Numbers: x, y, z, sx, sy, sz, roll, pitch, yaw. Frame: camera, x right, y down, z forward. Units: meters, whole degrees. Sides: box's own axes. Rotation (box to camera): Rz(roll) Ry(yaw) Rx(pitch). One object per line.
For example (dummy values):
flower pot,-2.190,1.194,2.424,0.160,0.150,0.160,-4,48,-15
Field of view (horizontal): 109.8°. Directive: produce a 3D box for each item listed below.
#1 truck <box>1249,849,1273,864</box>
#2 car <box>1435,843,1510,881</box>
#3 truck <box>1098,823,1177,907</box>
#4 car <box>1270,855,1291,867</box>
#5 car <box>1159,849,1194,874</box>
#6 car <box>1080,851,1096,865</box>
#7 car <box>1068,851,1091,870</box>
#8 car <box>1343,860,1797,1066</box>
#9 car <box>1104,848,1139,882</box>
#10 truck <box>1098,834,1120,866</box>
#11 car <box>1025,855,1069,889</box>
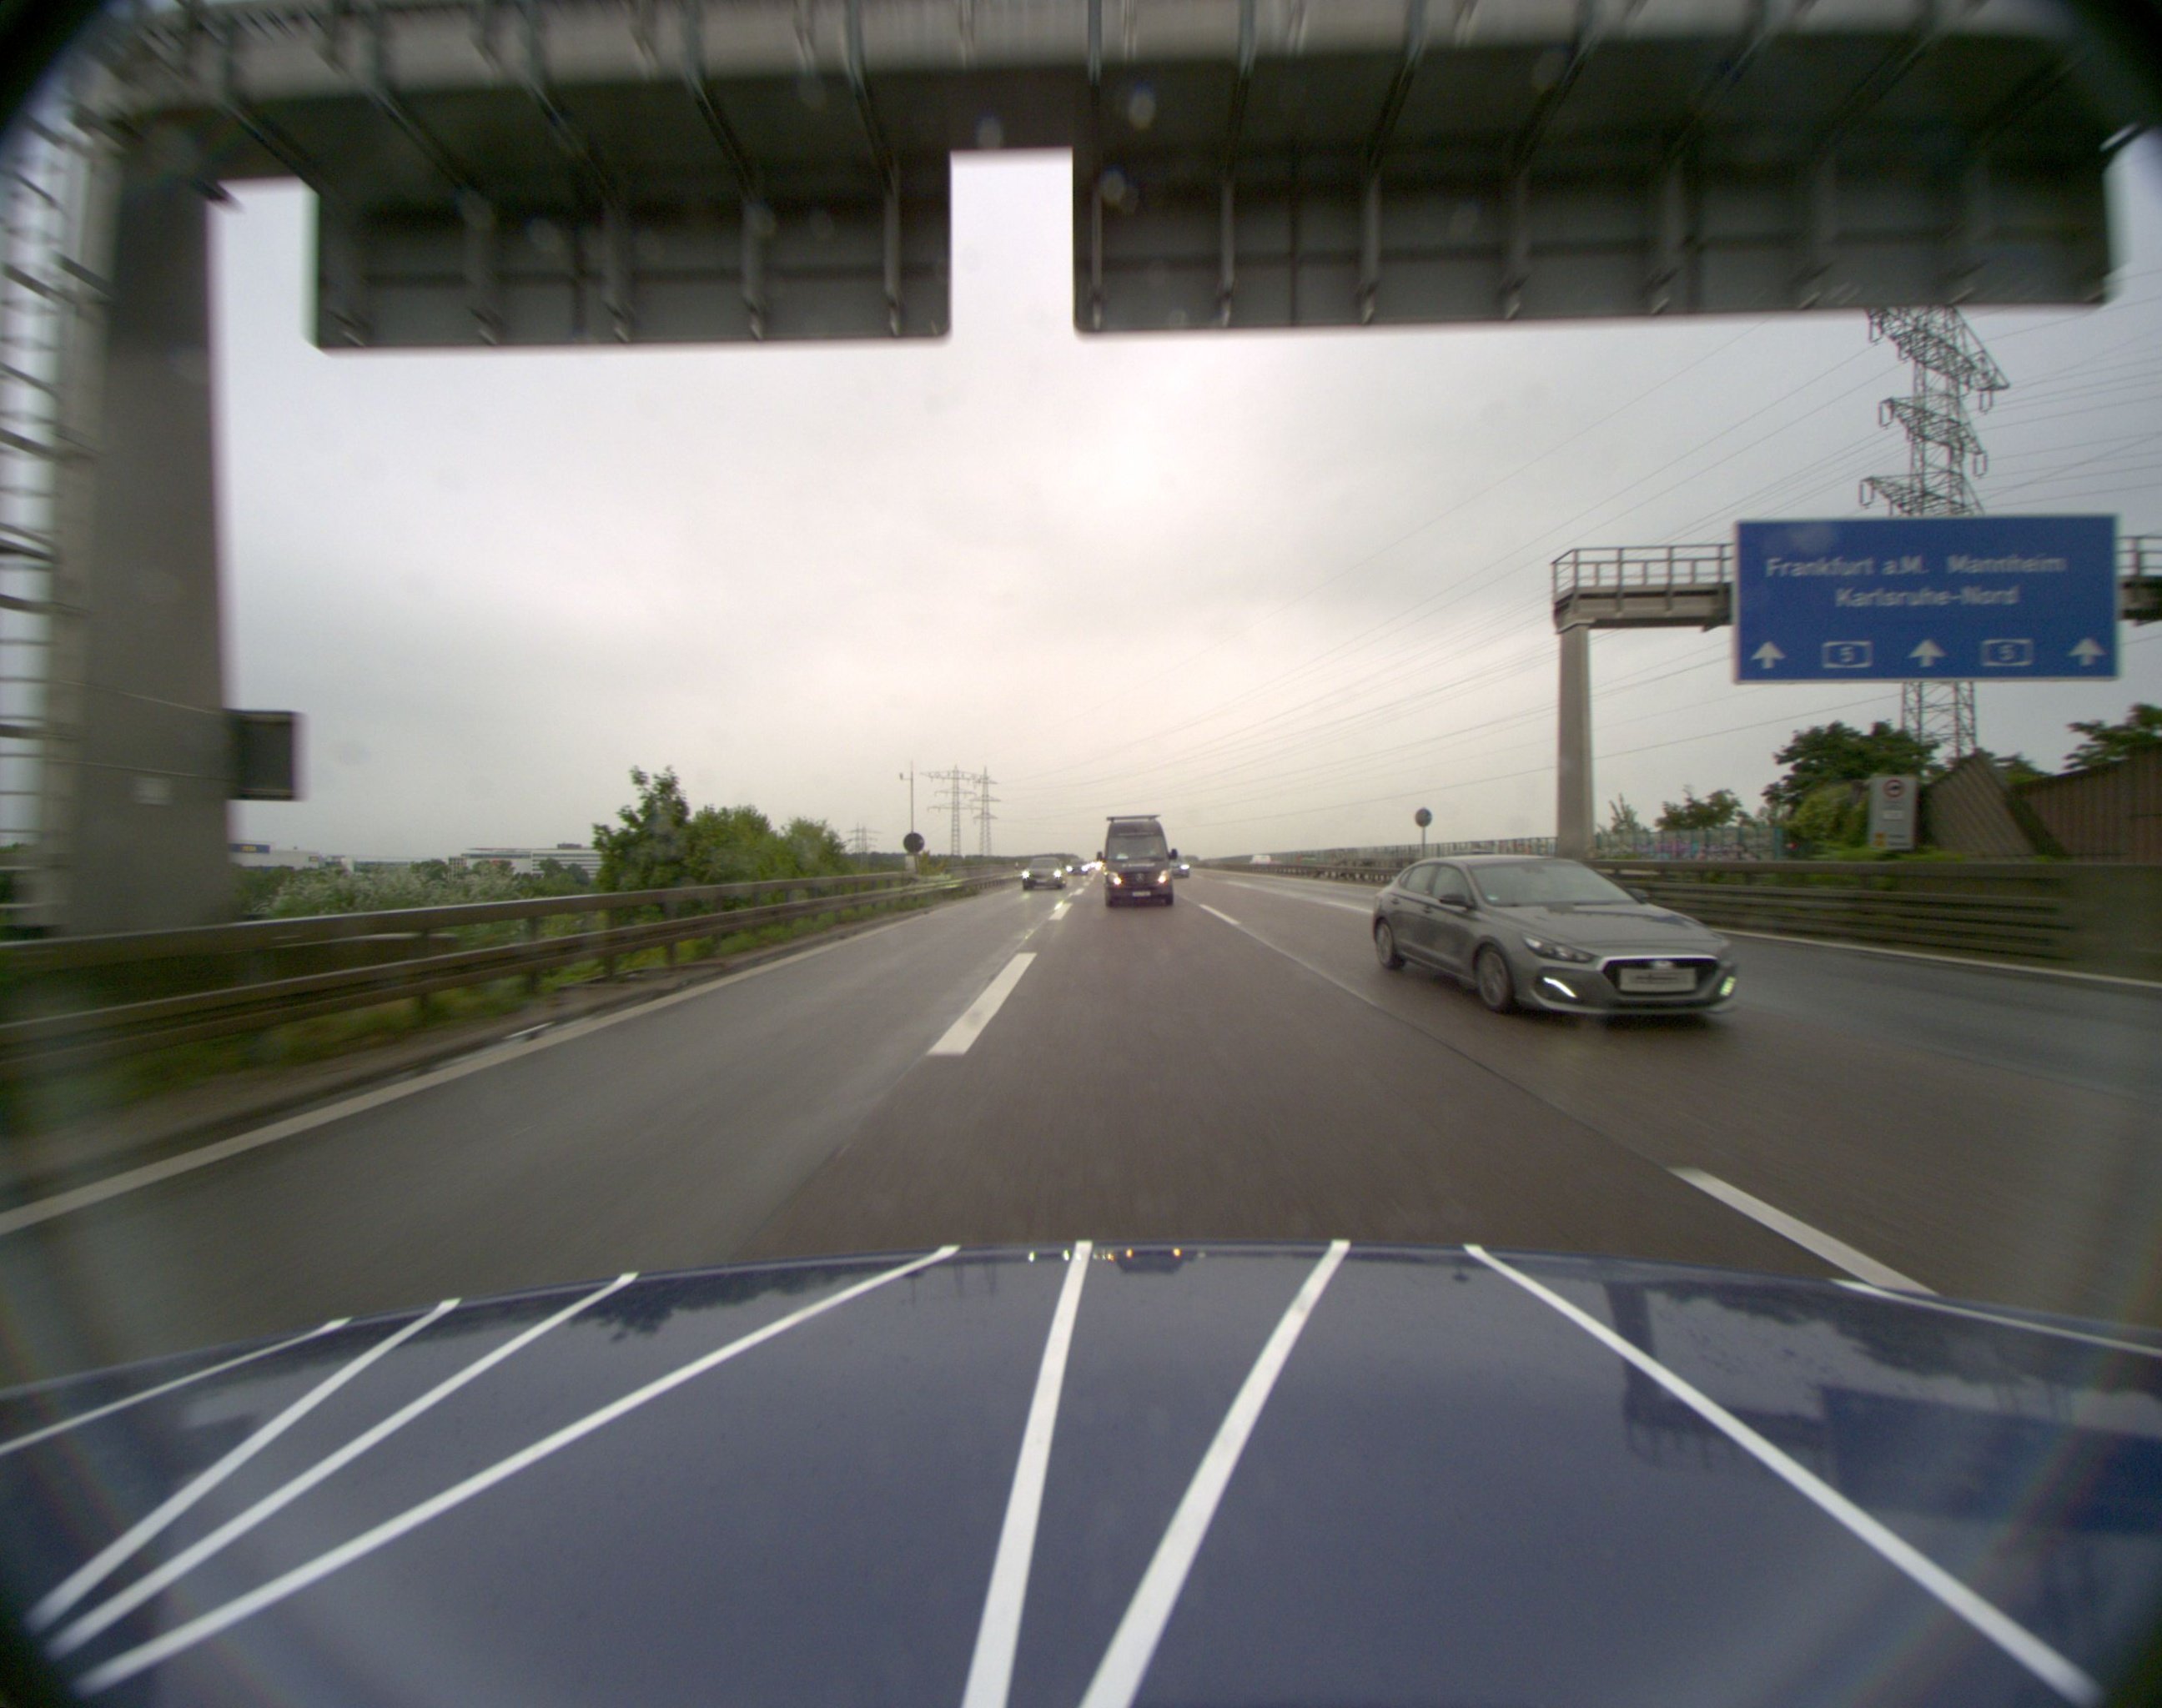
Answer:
truck,23.562,0.345,99.611,1.998,1.919,5.250,-1,0,1
car,21.584,0.383,42.093,1.998,1.920,4.171,-2,1,1
truck,1.638,0.269,24.116,1.998,2.324,6.110,-1,1,0
car,31.298,1.057,119.570,1.998,1.773,5.107,-1,0,1
car,6.473,0.487,52.084,1.843,1.585,5.156,-2,1,1
car,0.907,0.515,99.672,1.998,1.706,4.000,1,0,2
car,-0.111,0.583,71.009,1.998,1.706,4.000,1,0,2
car,4.485,0.840,8.084,1.730,1.395,4.828,-2,1,0
car,2.523,0.699,48.893,1.998,2.001,4.785,-2,-1,1
truck,3.872,-0.426,105.721,2.704,4.171,8.926,-2,-1,1
car,-1.609,0.850,37.503,1.862,1.531,4.203,-2,0,1
